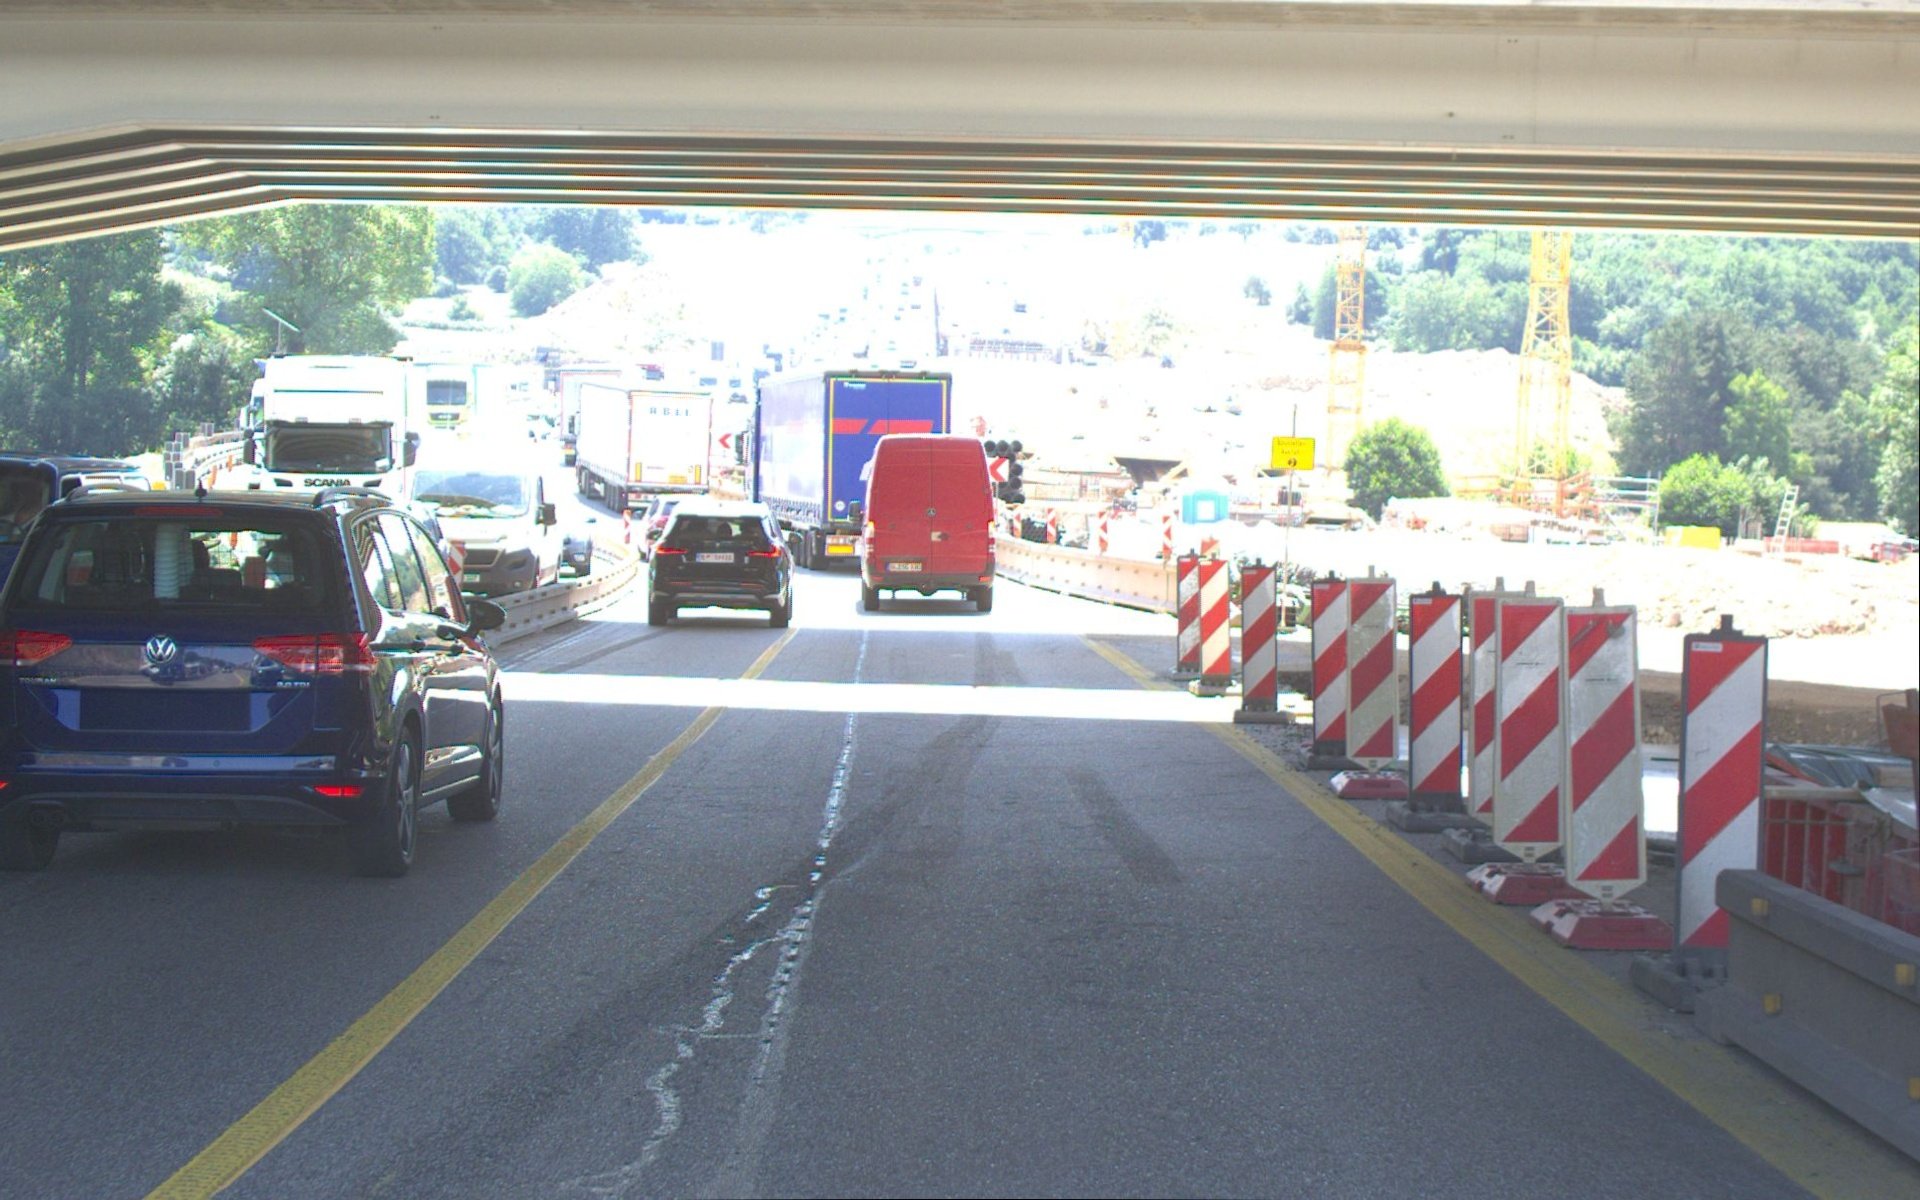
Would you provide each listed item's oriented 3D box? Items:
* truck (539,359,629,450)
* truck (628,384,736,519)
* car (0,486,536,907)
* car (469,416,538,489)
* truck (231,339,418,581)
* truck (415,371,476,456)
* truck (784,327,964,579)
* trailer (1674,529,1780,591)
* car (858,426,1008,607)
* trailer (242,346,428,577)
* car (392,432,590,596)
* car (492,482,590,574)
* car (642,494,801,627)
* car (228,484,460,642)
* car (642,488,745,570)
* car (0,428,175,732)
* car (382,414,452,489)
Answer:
[{"bbox_3d":[-16.118,-8.294,146.714,3.218,3.349,8.943,1,0,-10],"label":"truck"},{"bbox_3d":[-8.747,-4.701,107.546,3.181,3.975,6.744,1,4,-6],"label":"truck"},{"bbox_3d":[-3.140,0.323,15.777,1.734,1.630,4.390,1,1,1],"label":"car"},{"bbox_3d":[-15.873,-5.164,119.655,2.264,2.346,5.162,1,4,-7],"label":"car"},{"bbox_3d":[-11.351,-2.498,61.743,2.873,4.037,4.887,3,2,-7],"label":"truck"},{"bbox_3d":[-26.534,-9.631,177.548,2.625,4.255,4.733,2,3,-5],"label":"truck"},{"bbox_3d":[-1.868,-3.117,71.273,2.944,4.928,6.744,1,4,-7],"label":"truck"},{"bbox_3d":[20.030,-1.062,89.898,1.623,1.481,3.827,2,2,-4],"label":"trailer"},{"bbox_3d":[-0.469,-1.235,53.137,2.150,2.602,5.439,1,0,-2],"label":"car"},{"bbox_3d":[-12.353,-2.767,69.077,2.876,4.026,14.363,3,2,-8],"label":"trailer"},{"bbox_3d":[-7.060,-1.301,52.383,1.980,2.322,6.058,1,1,2],"label":"car"},{"bbox_3d":[-8.038,-1.411,66.157,1.746,1.665,4.080,1,2,-6],"label":"car"},{"bbox_3d":[-3.126,-0.571,45.782,1.833,1.629,4.390,1,2,-1],"label":"car"},{"bbox_3d":[-6.671,-0.427,37.628,1.748,1.604,4.141,1,1,0],"label":"car"},{"bbox_3d":[-5.821,-1.567,74.773,1.833,1.629,4.107,1,3,-10],"label":"car"},{"bbox_3d":[-6.933,-0.200,24.232,1.799,1.926,4.969,1,1,-2],"label":"car"},{"bbox_3d":[-18.964,-5.145,119.817,2.070,2.495,6.486,1,1,-12],"label":"car"}]
